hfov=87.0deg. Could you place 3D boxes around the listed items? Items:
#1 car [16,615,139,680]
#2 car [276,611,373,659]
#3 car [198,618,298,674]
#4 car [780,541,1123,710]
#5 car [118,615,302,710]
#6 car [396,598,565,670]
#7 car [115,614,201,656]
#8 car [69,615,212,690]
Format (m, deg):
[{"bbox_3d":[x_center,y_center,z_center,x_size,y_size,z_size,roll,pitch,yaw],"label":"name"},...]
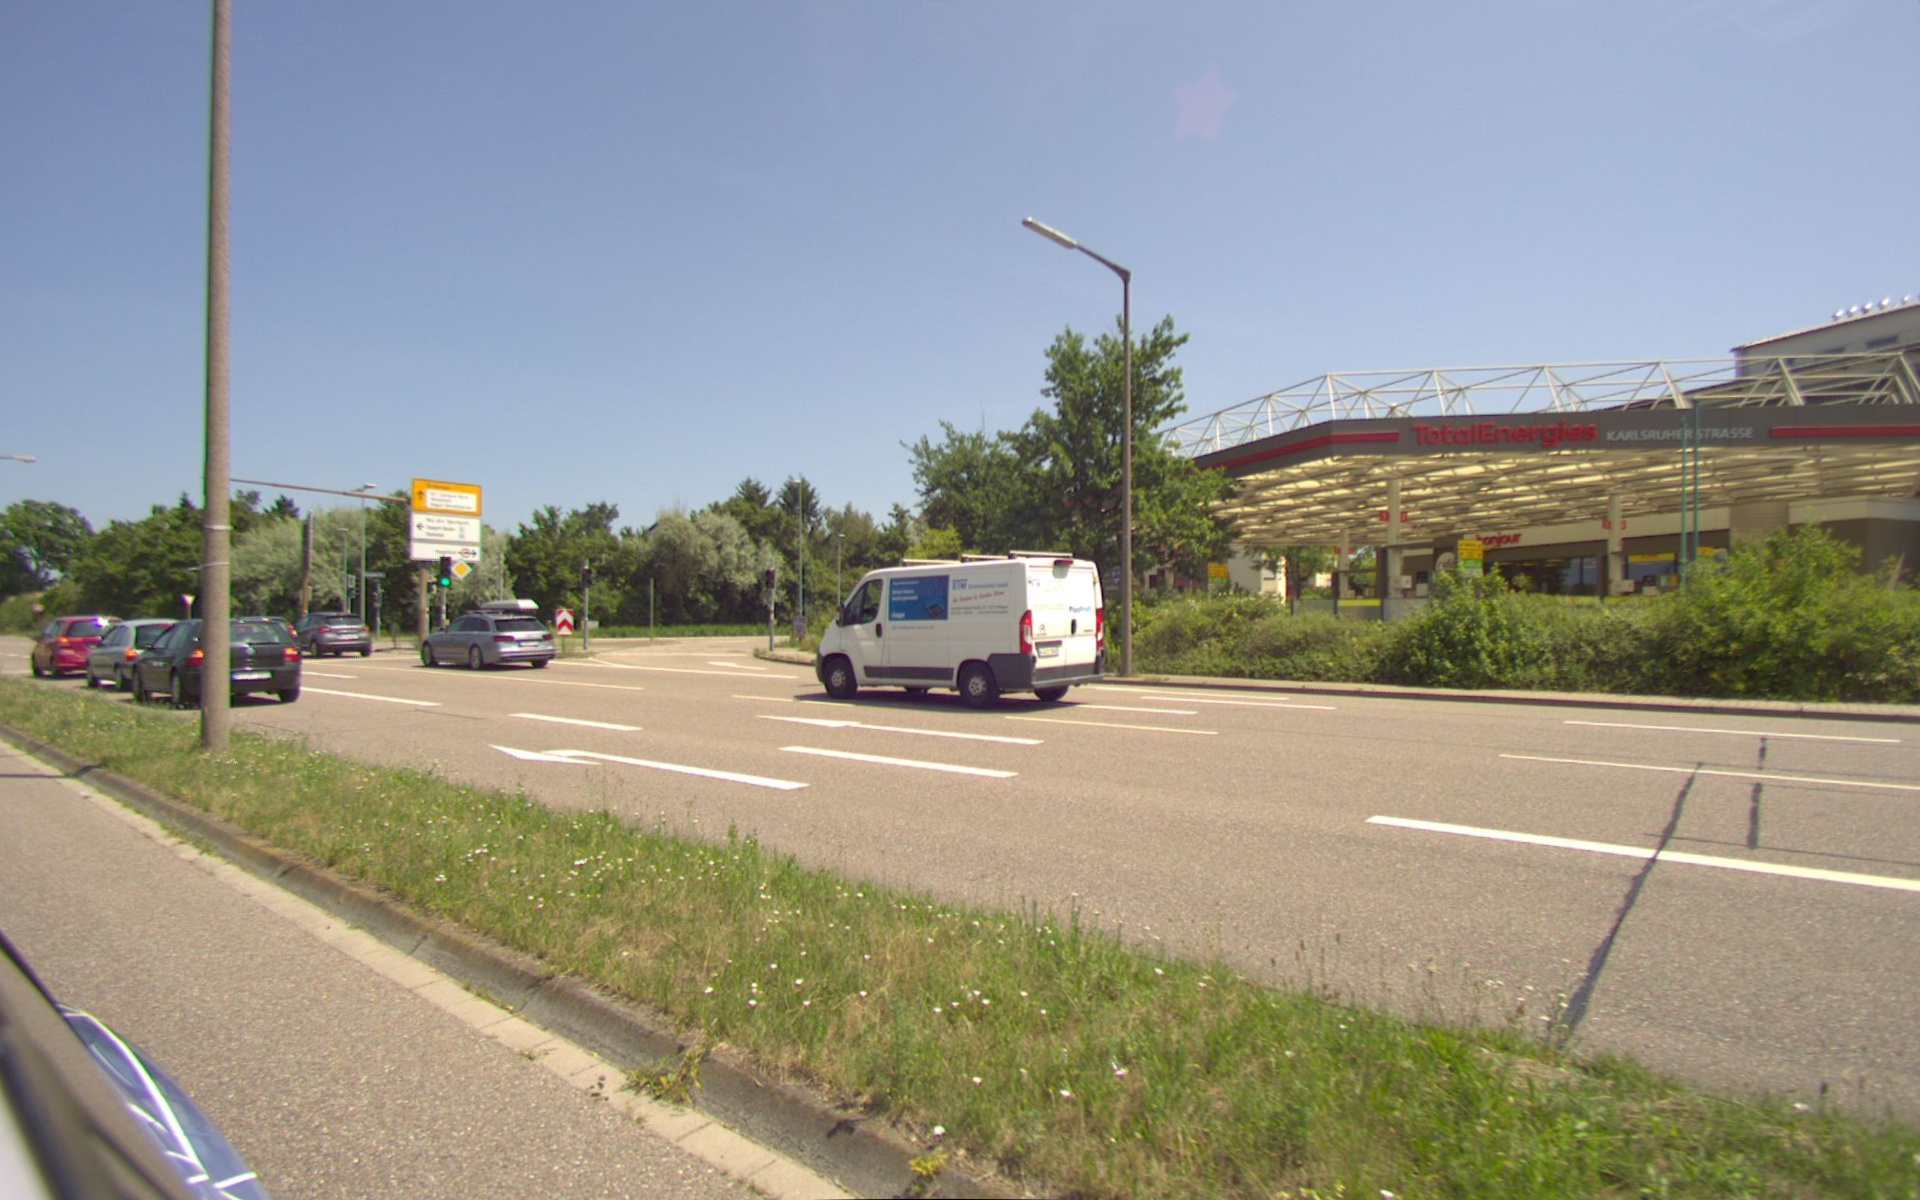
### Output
[{"bbox_3d":[-22.304,1.151,25.523,3.995,1.502,1.642,-1,-2,39],"label":"car"},{"bbox_3d":[-22.179,1.204,35.265,3.995,1.551,1.642,-1,-1,38],"label":"car"},{"bbox_3d":[-19.941,1.234,28.307,3.502,1.456,1.432,-1,-1,40],"label":"car"},{"bbox_3d":[-0.299,0.372,16.425,5.445,2.290,2.226,-1,0,41],"label":"car"},{"bbox_3d":[-13.003,0.997,17.454,4.188,1.445,1.659,-1,-1,40],"label":"car"},{"bbox_3d":[-12.857,0.891,27.023,5.012,1.763,1.947,-1,-2,36],"label":"car"},{"bbox_3d":[-29.184,1.250,36.787,3.998,1.395,1.581,-1,-1,39],"label":"car"},{"bbox_3d":[-17.174,1.060,21.155,3.849,1.434,1.545,-2,-1,38],"label":"car"}]
